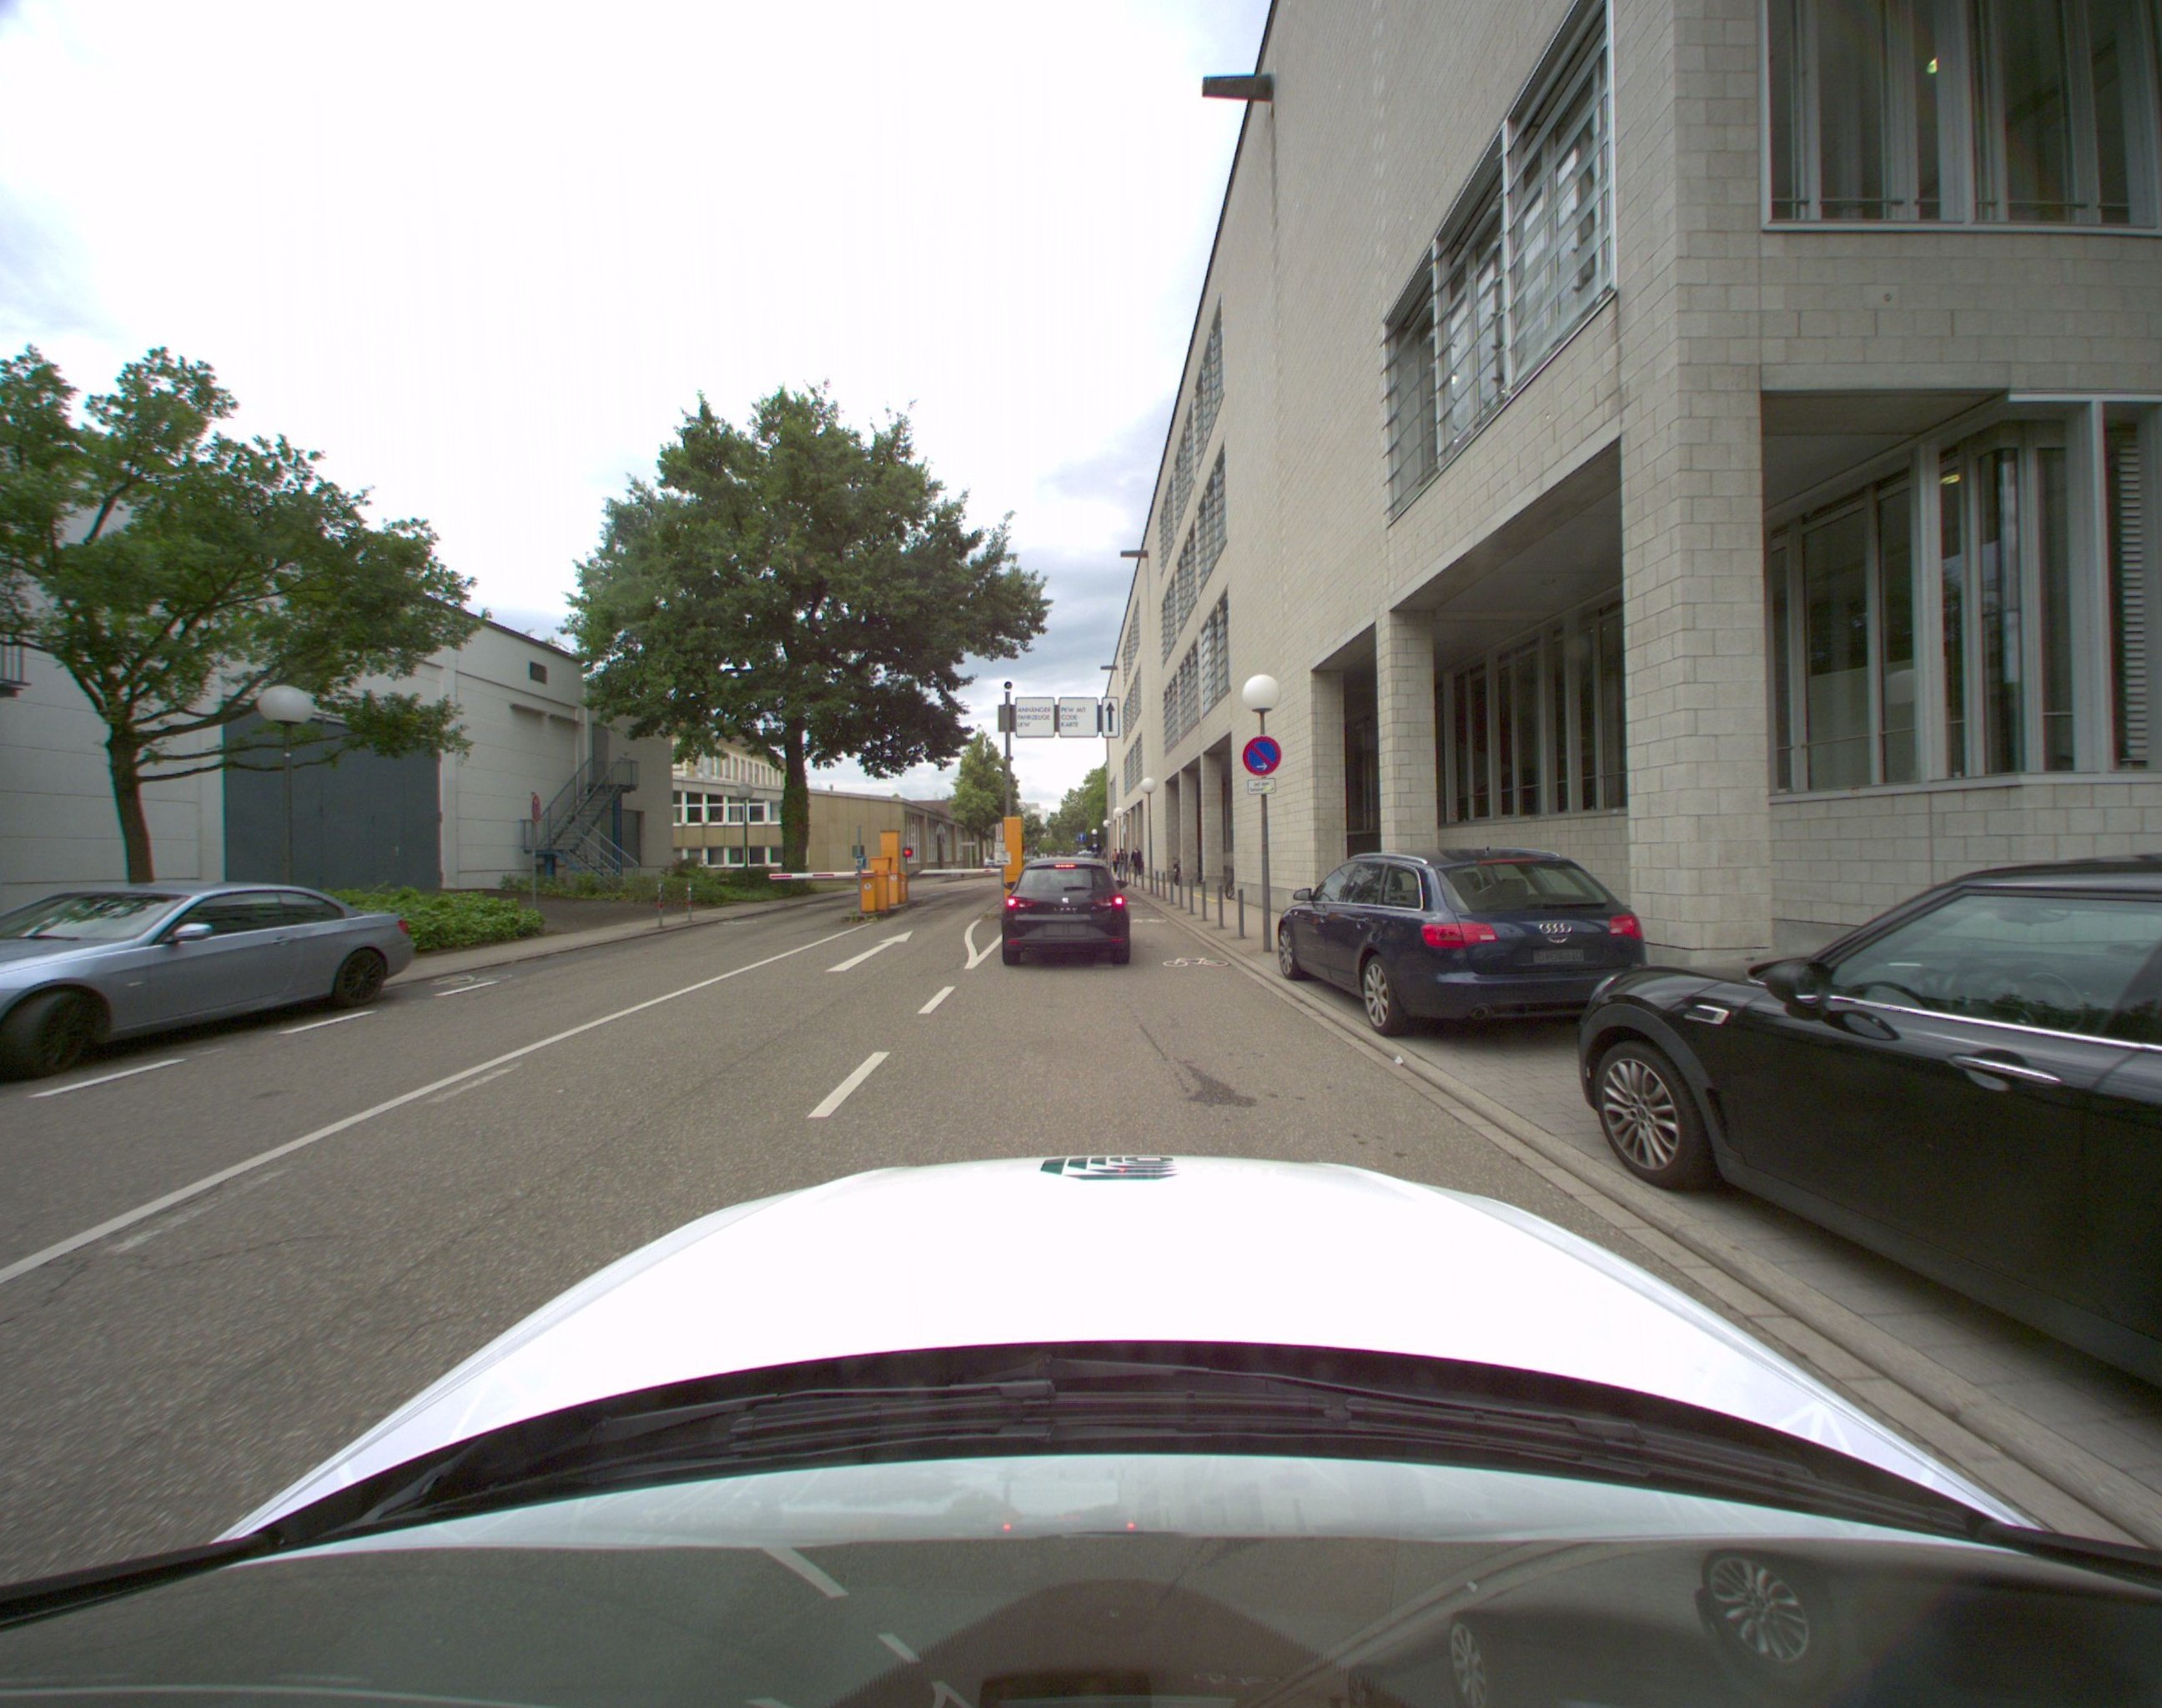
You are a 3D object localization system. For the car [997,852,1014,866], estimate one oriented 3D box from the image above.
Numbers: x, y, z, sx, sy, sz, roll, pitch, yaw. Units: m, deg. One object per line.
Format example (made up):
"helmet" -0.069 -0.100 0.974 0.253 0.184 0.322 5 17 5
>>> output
"car" -9.027 0.623 97.217 1.765 1.601 3.998 -1 0 -1

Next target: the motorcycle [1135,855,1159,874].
"motorcycle" 4.371 0.685 53.938 0.752 1.148 2.678 1 2 23

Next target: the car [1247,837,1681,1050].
"car" 3.219 0.645 8.219 1.988 1.452 4.920 -1 0 -1

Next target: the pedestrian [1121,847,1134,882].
"pedestrian" 2.325 0.505 40.695 0.609 1.714 0.575 -2 0 1

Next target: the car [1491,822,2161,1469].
"car" 3.327 0.642 2.386 1.813 1.443 4.517 -3 0 -2

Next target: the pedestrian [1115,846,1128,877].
"pedestrian" 2.273 0.402 45.461 0.688 1.698 0.588 0 2 -1

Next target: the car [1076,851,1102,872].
"car" 0.608 0.603 67.230 1.988 1.622 4.426 -3 0 -1

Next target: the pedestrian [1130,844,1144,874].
"pedestrian" 3.212 0.301 46.722 0.727 1.698 0.587 0 2 -7

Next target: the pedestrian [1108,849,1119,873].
"pedestrian" 2.266 0.483 56.596 0.693 1.714 0.489 -1 0 3

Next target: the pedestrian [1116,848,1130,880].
"pedestrian" 2.279 0.552 44.135 0.694 1.714 0.489 -1 0 0

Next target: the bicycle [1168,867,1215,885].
"bicycle" 4.638 0.908 34.180 1.893 0.698 0.492 0 2 -5

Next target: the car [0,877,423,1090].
"car" -8.688 0.982 7.620 1.814 1.389 4.189 -1 0 -3

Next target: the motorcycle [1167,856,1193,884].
"motorcycle" 4.544 0.724 37.293 0.560 1.148 2.230 1 2 23

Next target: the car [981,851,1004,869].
"car" -8.097 0.522 74.456 1.765 1.601 3.997 -1 0 -2

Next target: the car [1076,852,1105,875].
"car" 0.682 0.750 62.702 1.988 1.622 4.424 -2 -1 -2

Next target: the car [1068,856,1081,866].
"car" -1.088 1.054 130.291 1.988 1.463 4.425 -3 0 -1

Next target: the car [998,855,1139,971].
"car" -0.209 0.746 12.376 1.777 1.419 4.127 -1 0 -2

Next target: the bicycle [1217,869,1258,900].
"bicycle" 4.643 0.874 24.074 0.458 0.751 2.309 -5 -1 29
